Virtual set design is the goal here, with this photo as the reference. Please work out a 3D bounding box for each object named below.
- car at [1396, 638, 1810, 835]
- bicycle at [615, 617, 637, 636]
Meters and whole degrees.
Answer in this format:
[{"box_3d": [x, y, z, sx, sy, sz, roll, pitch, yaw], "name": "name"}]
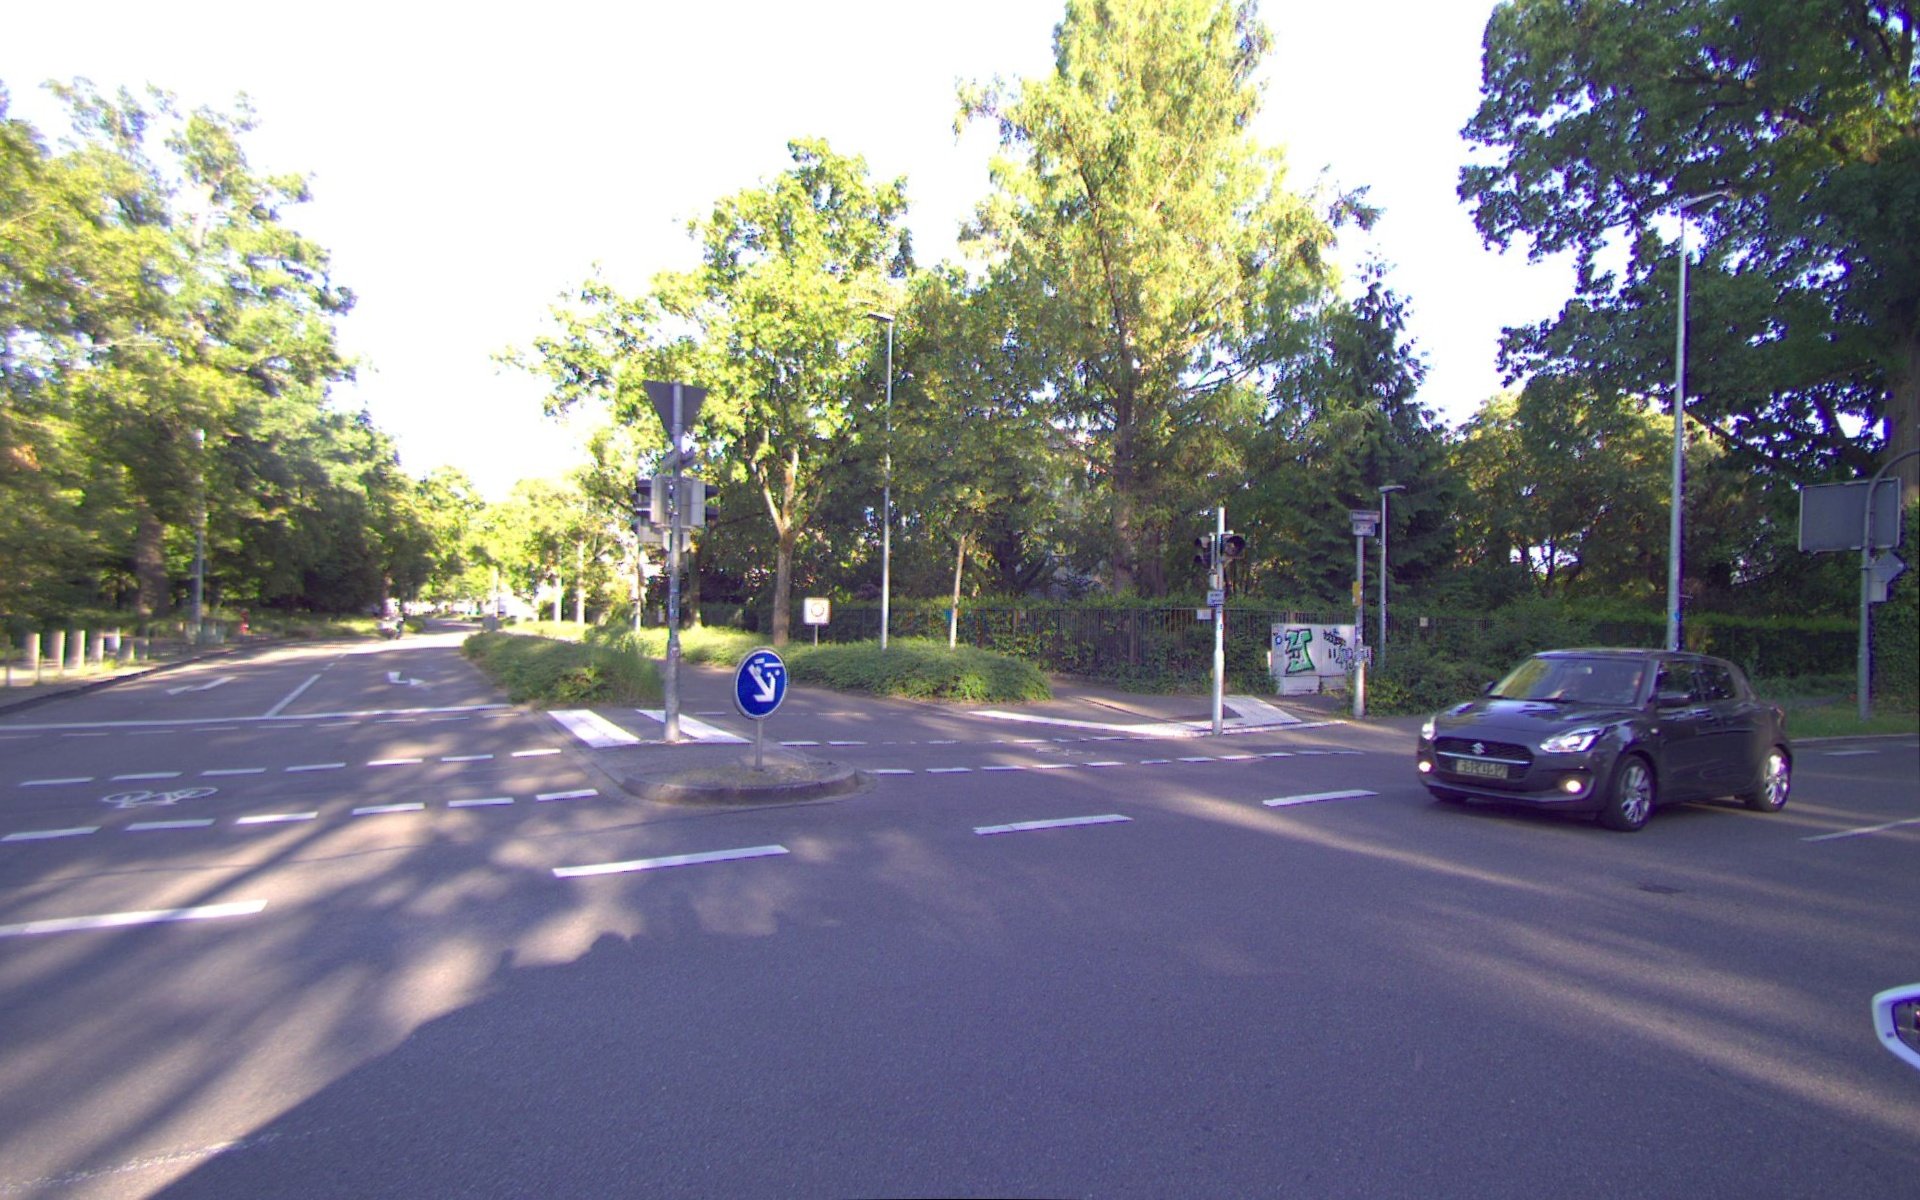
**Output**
[{"box_3d": [5.901, 1.122, 9.181, 3.596, 1.472, 1.700, 2, -4, -30], "name": "car"}, {"box_3d": [-23.174, 1.836, 69.728, 0.869, 1.216, 2.324, 0, 0, -5], "name": "bicycle"}]
